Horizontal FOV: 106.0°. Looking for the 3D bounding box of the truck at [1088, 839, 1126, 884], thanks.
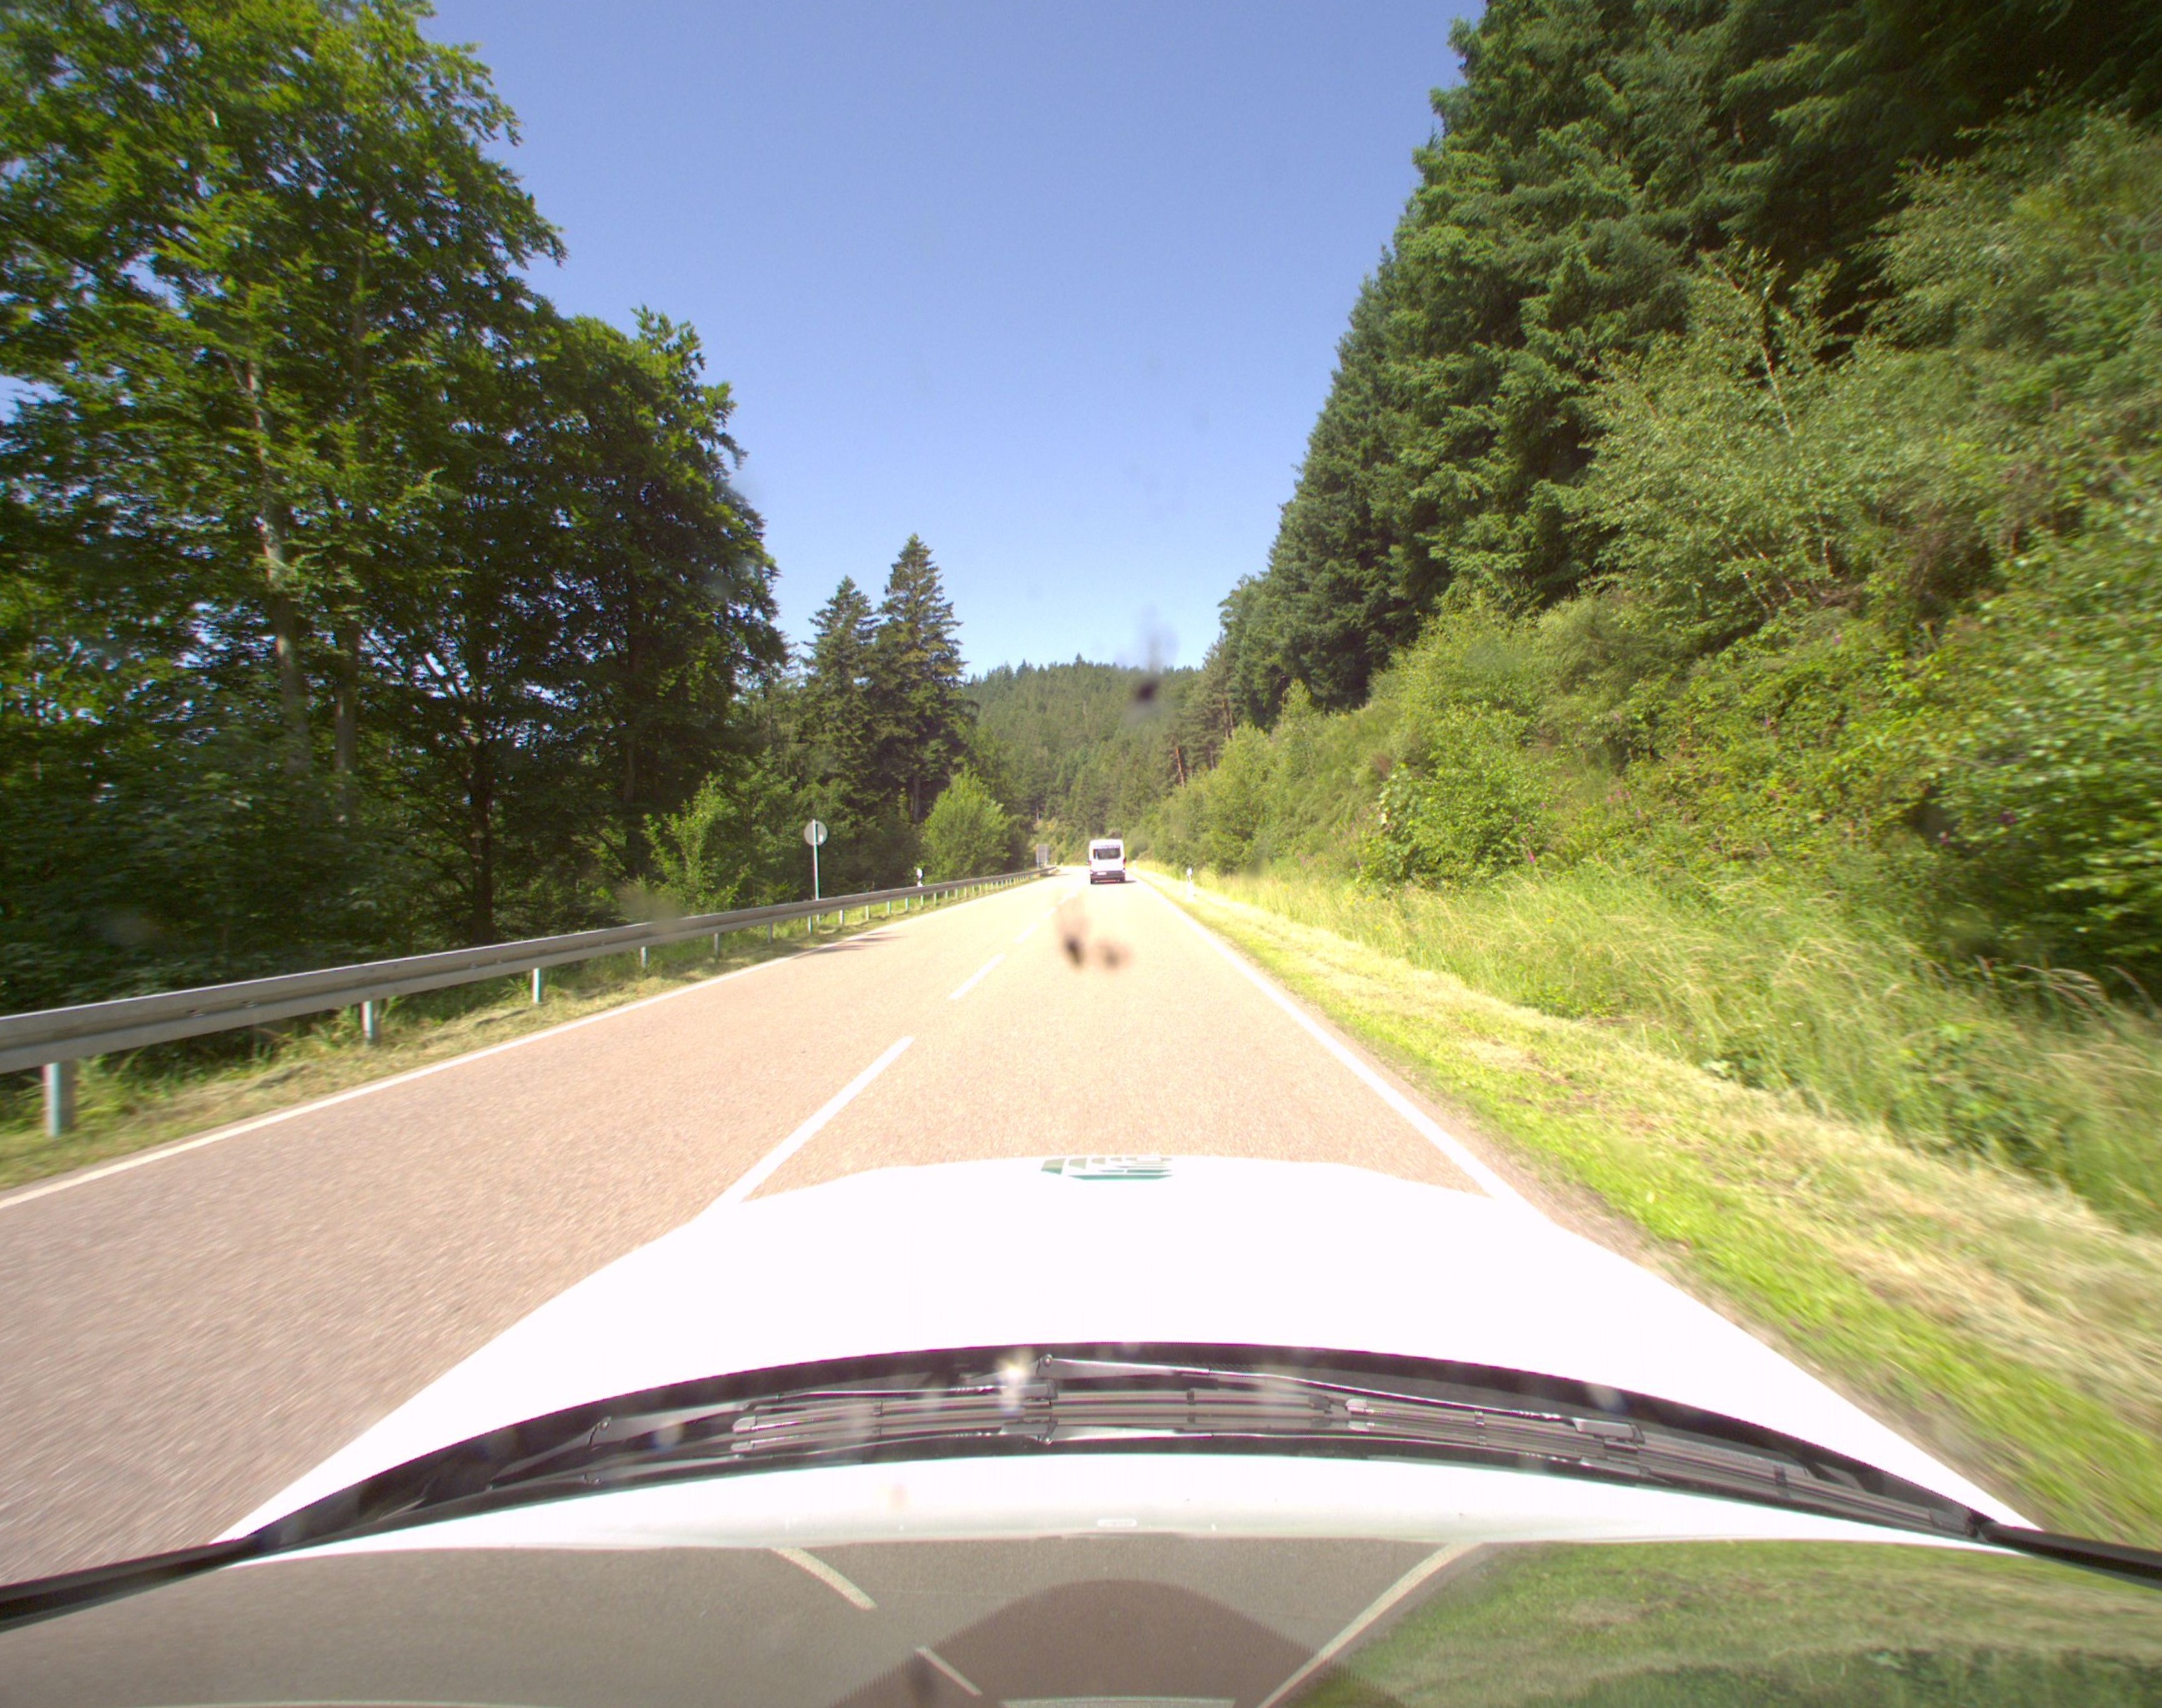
[{"bbox_3d":[1.543,0.434,47.398,2.075,2.460,4.877,-1,-1,2],"label":"truck"}]
